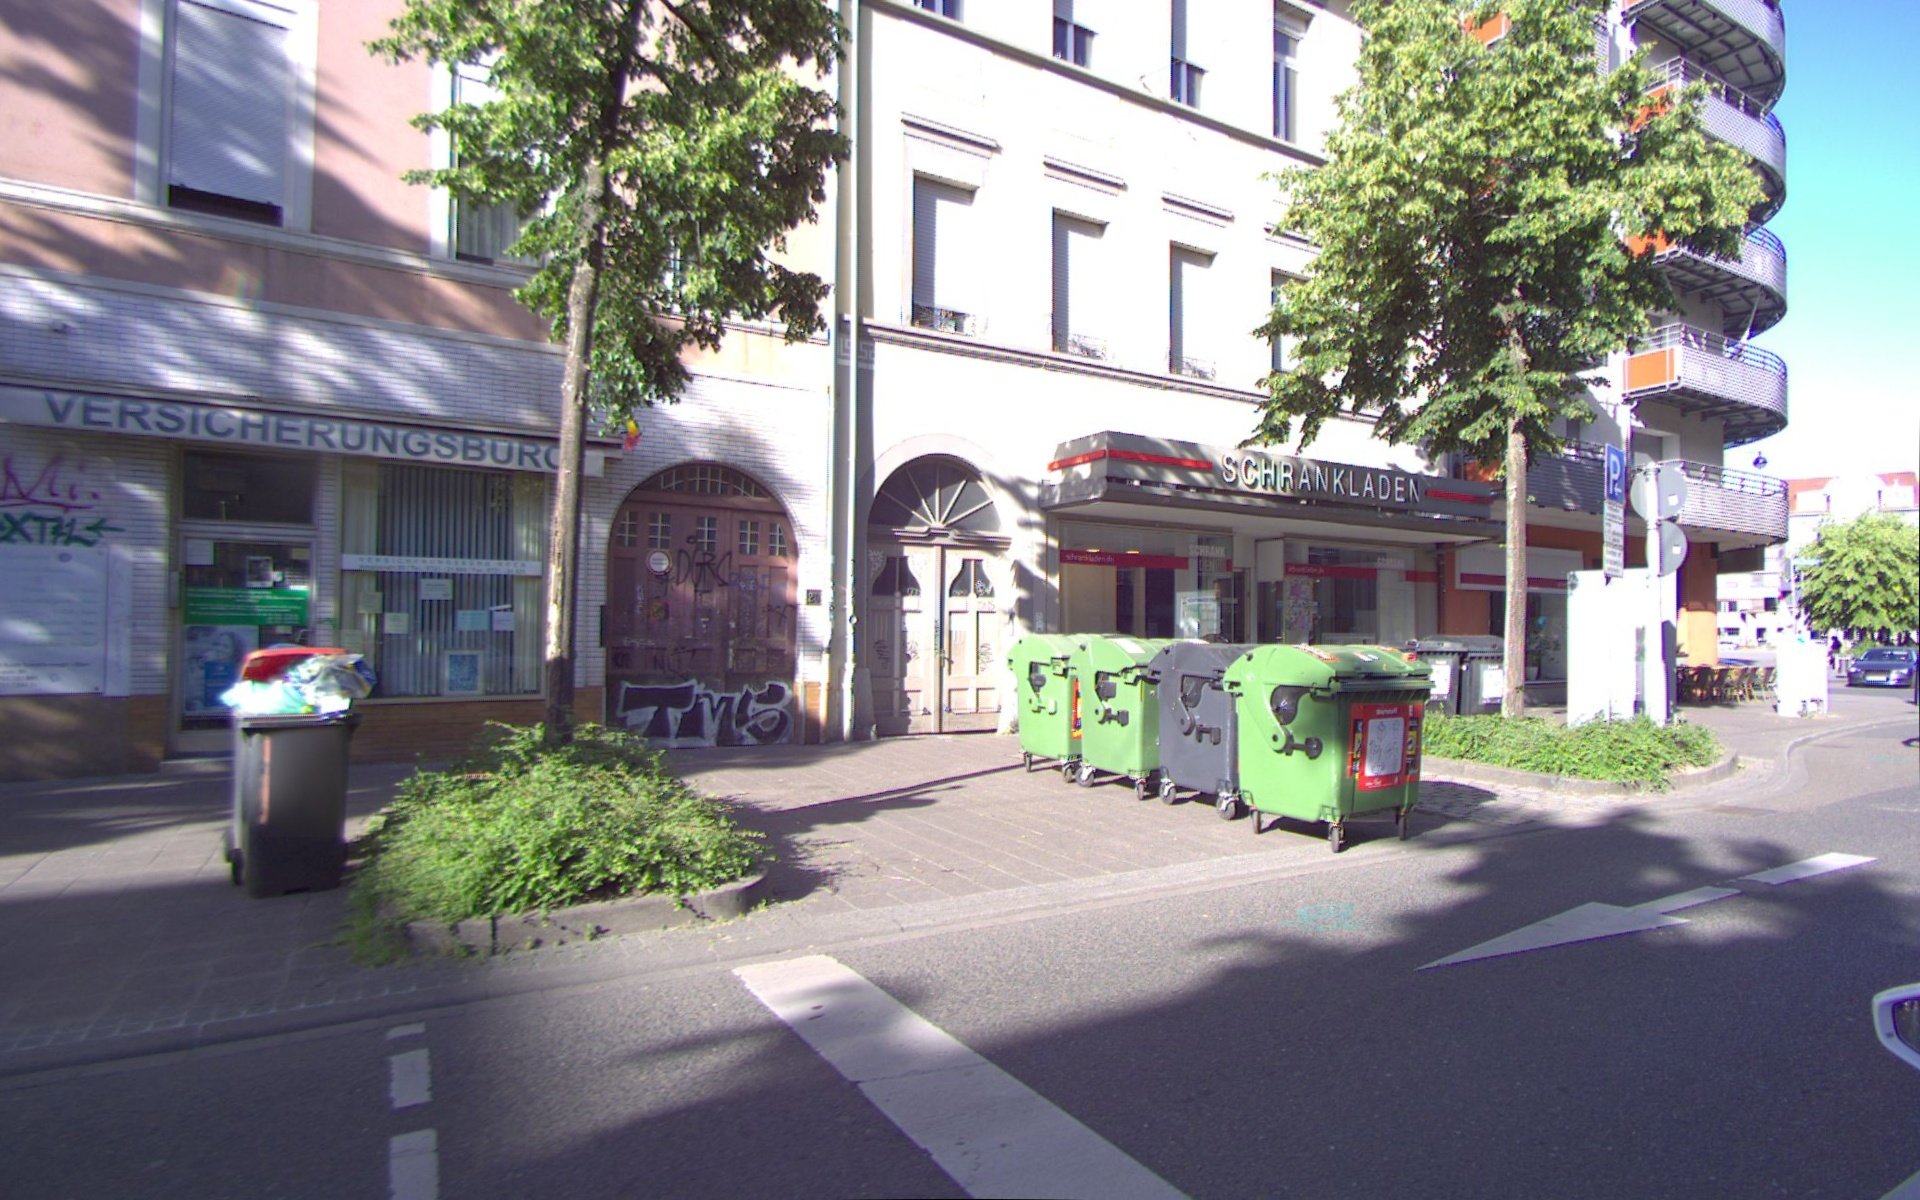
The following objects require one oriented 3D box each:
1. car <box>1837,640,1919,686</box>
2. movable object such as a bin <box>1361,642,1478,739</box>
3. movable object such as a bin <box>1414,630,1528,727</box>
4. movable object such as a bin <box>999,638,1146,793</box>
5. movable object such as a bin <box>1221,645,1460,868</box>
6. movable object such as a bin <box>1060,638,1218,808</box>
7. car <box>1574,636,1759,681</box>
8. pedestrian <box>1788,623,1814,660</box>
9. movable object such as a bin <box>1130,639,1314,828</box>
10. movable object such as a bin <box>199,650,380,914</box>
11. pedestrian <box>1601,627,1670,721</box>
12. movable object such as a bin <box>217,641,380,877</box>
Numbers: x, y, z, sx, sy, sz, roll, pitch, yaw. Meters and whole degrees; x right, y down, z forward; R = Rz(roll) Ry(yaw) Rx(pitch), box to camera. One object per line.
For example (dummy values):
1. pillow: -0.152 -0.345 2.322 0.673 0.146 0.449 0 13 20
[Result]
1. car: 33.015 2.197 35.775 4.495 1.441 1.736 0 -1 -37
2. movable object such as a bin: 6.832 1.305 14.952 1.299 1.363 1.037 1 -2 -31
3. movable object such as a bin: 7.946 1.191 15.634 1.299 1.422 1.037 1 -2 -31
4. movable object such as a bin: 1.152 1.137 10.429 1.130 1.491 1.037 1 -2 -31
5. movable object such as a bin: 2.877 1.095 7.625 1.436 1.491 1.037 1 -2 -31
6. movable object such as a bin: 1.692 1.108 9.551 1.130 1.491 0.959 1 -2 -31
7. car: 24.098 2.006 34.474 5.033 1.441 1.994 -3 -4 35
8. pedestrian: 49.381 2.430 58.981 0.949 2.136 0.734 1 -1 -8
9. movable object such as a bin: 2.246 1.080 8.671 1.130 1.491 1.037 1 -2 -31
10. movable object such as a bin: -3.785 0.973 5.729 0.796 1.358 0.631 1 -2 -31
11. pedestrian: 12.483 1.338 18.564 1.025 1.681 0.661 1 -2 -31
12. movable object such as a bin: -4.154 0.943 6.366 0.796 1.358 0.751 1 -2 -31
